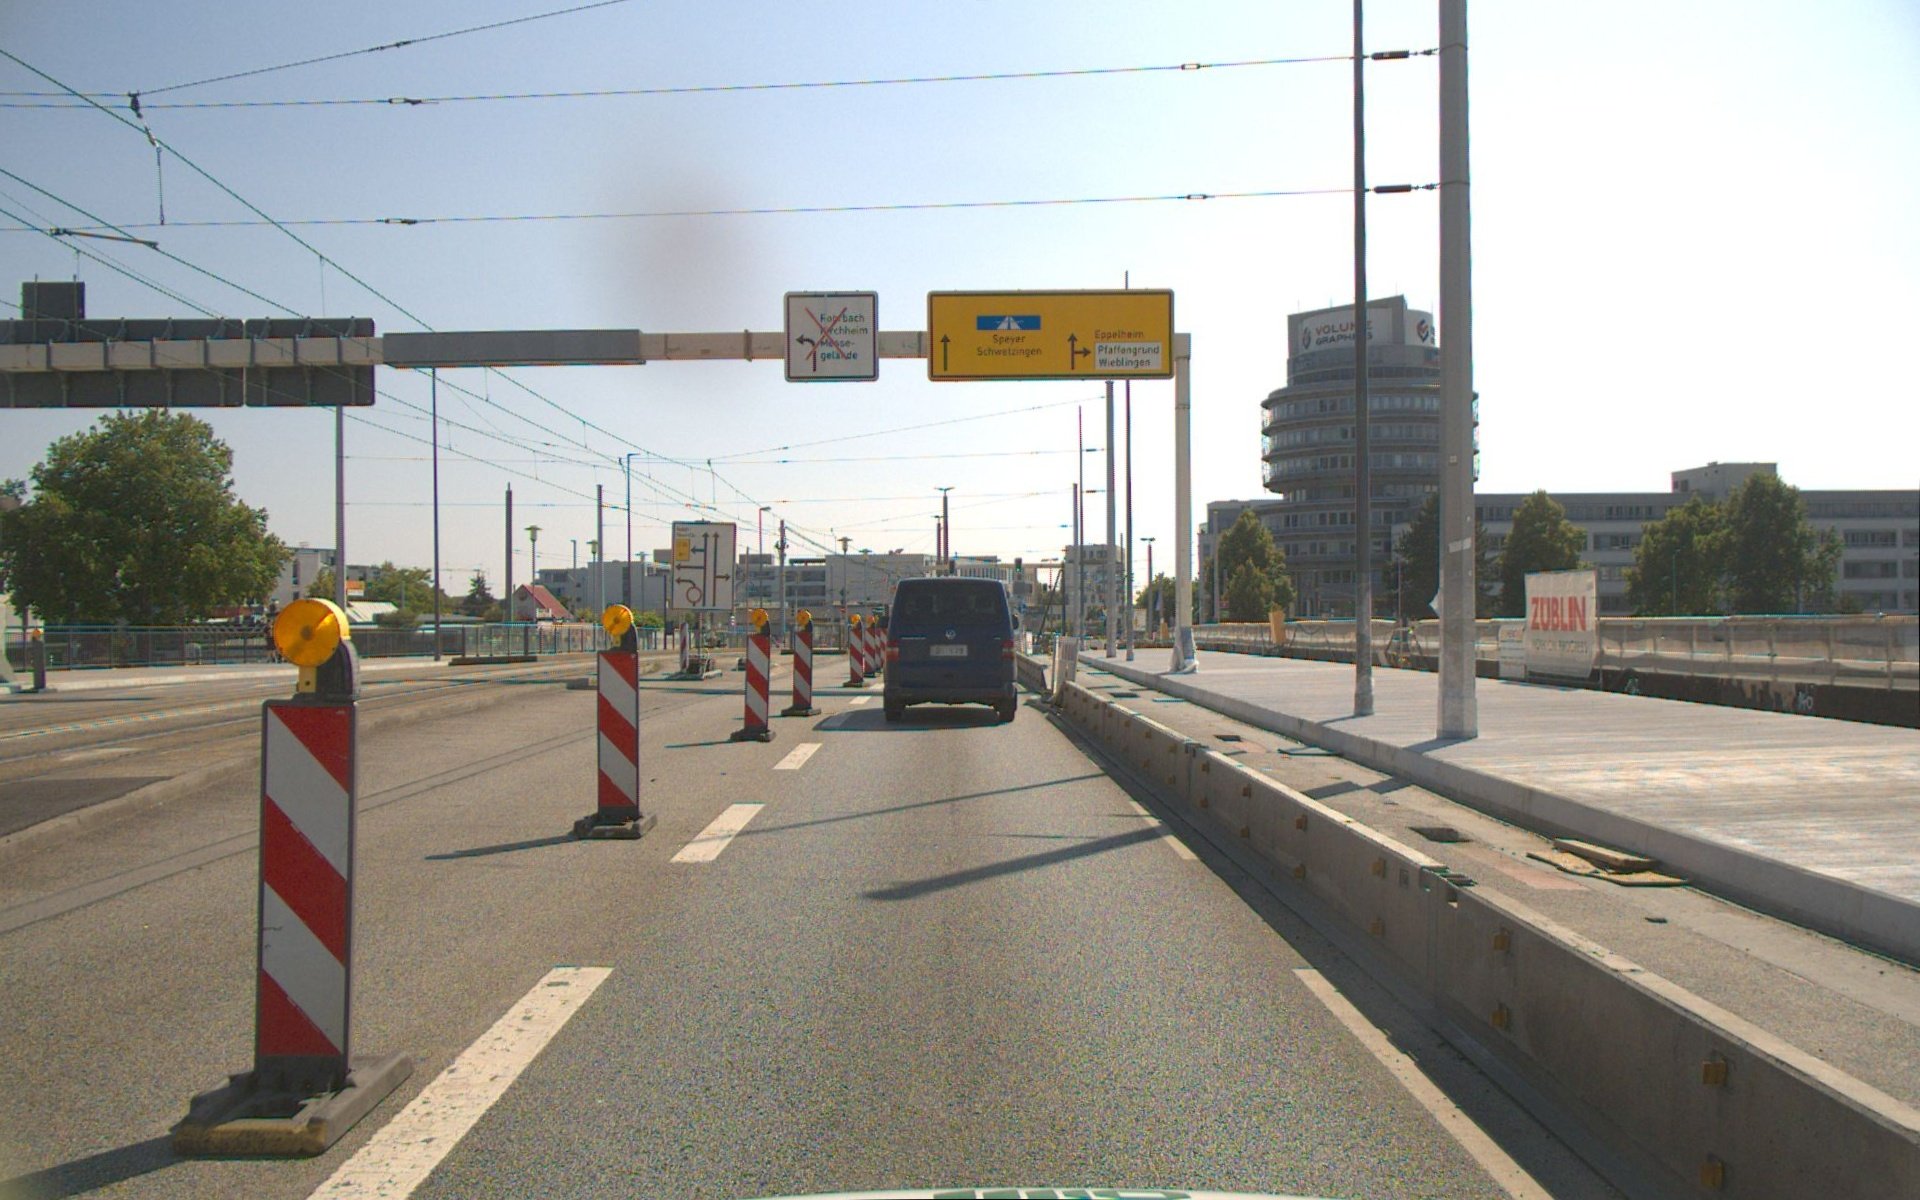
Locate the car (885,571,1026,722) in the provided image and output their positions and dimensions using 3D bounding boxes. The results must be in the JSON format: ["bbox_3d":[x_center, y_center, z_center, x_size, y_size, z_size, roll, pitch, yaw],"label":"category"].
[{"bbox_3d":[-0.106,0.635,23.996,1.850,1.968,3.999,1,-1,-1],"label":"car"}]

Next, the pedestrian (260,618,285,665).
[{"bbox_3d":[-25.668,1.543,61.760,0.585,1.717,0.818,-1,-1,2],"label":"pedestrian"}]

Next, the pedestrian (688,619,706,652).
[{"bbox_3d":[-13.371,1.817,84.194,0.646,1.683,0.740,-1,-1,13],"label":"pedestrian"}]

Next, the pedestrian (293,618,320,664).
[{"bbox_3d":[-25.185,1.578,63.741,0.737,1.717,0.732,-1,-1,2],"label":"pedestrian"}]

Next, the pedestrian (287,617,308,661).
[{"bbox_3d":[-25.924,1.528,64.748,0.493,1.717,0.773,-1,-1,2],"label":"pedestrian"}]

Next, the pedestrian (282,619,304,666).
[{"bbox_3d":[-25.083,1.593,62.204,0.476,1.717,0.808,-1,-1,2],"label":"pedestrian"}]

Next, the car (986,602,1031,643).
[{"bbox_3d":[3.625,1.644,122.713,2.289,2.937,5.975,1,0,12],"label":"car"}]

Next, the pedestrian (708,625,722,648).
[{"bbox_3d":[-13.583,2.012,91.810,0.634,1.296,0.697,0,-1,5],"label":"pedestrian"}]
